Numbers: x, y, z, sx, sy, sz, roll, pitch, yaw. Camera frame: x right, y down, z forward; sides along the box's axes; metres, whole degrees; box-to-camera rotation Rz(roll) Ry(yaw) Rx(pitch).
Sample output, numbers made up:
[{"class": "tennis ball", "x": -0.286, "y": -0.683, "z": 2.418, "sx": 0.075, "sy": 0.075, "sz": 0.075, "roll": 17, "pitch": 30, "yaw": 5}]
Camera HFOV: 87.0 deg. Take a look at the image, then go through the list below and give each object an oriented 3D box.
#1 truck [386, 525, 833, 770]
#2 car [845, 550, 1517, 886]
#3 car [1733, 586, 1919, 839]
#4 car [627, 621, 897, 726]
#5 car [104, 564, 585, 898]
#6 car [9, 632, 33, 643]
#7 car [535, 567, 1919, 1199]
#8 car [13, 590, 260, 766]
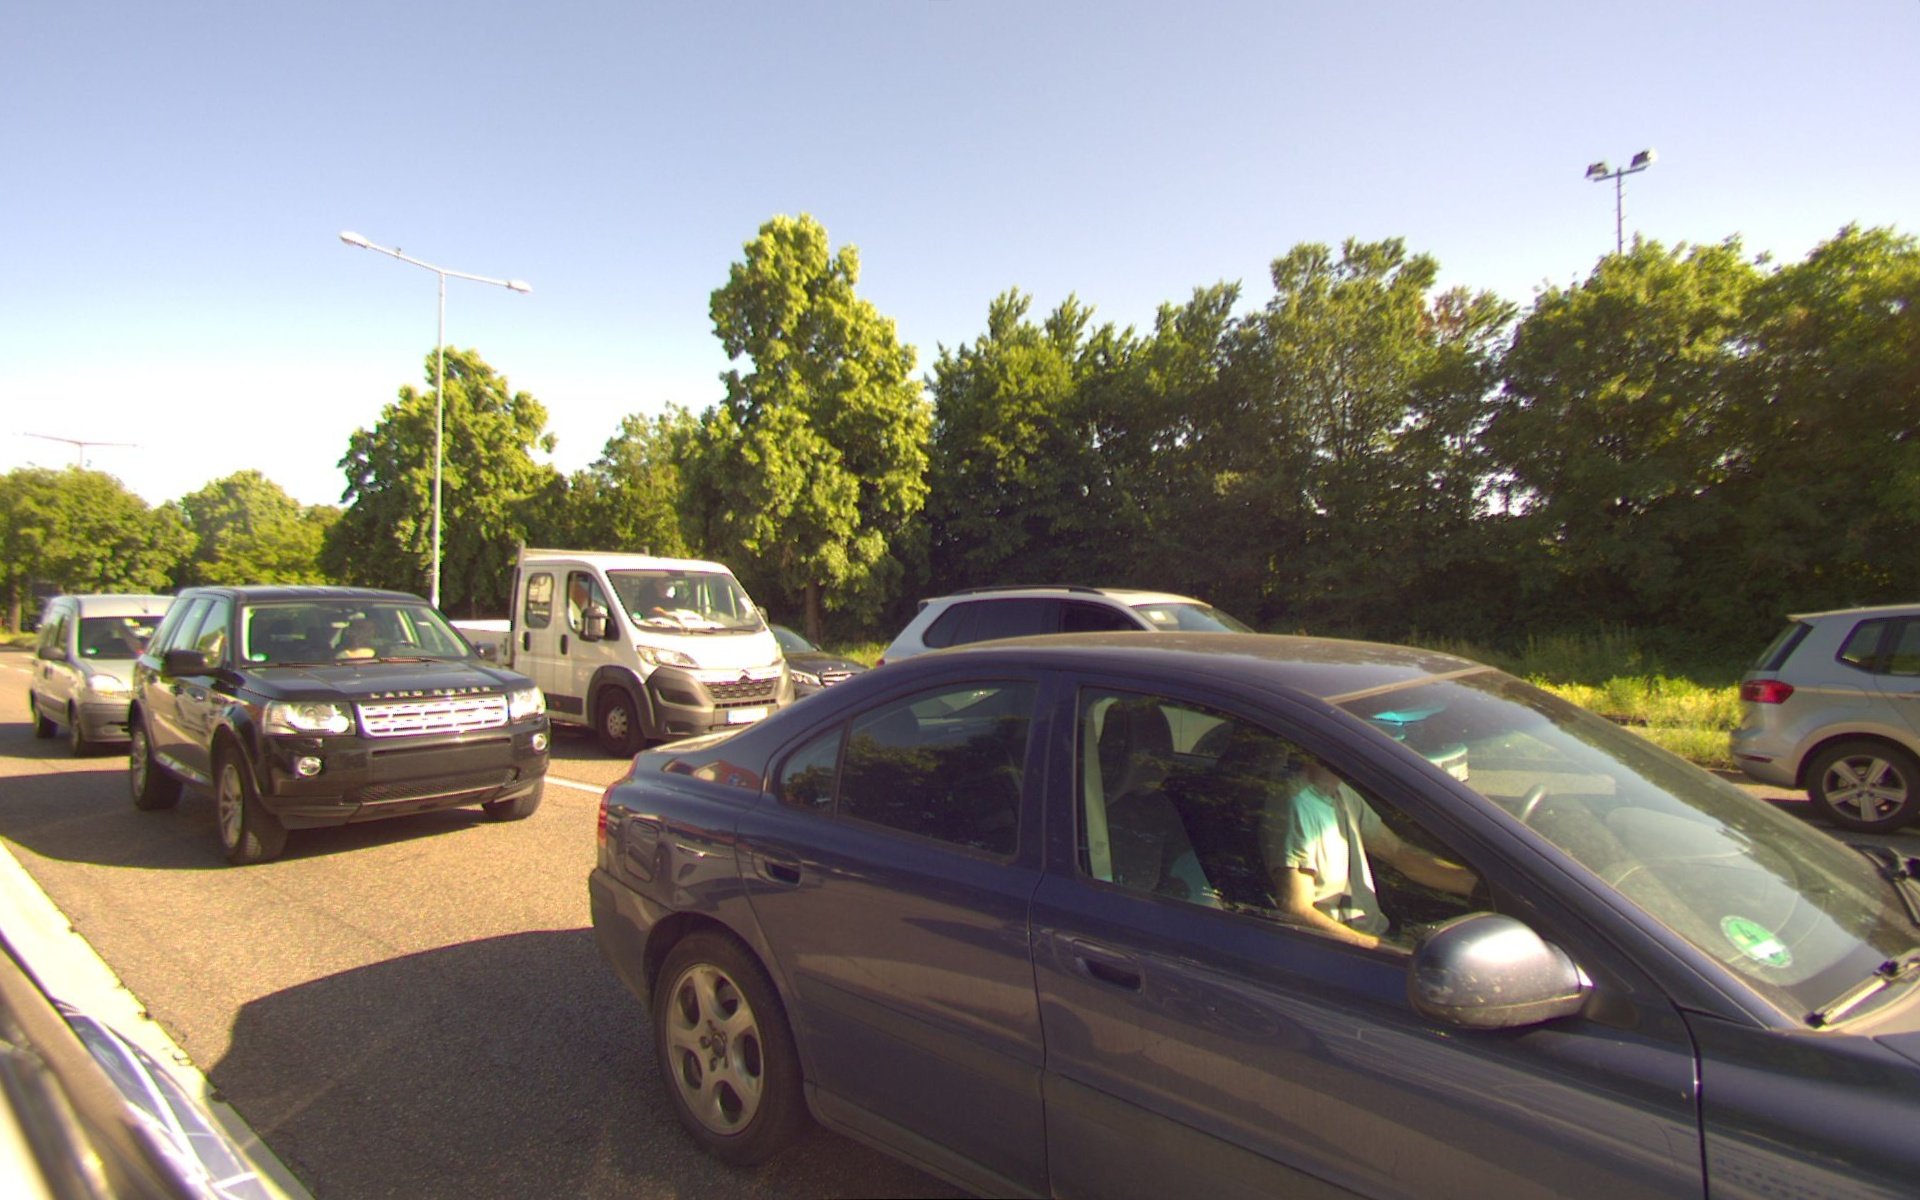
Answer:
[{"class": "truck", "x": -4.710, "y": 0.488, "z": 12.711, "sx": 6.838, "sy": 2.337, "sz": 2.158, "roll": -1, "pitch": -1, "yaw": 40}, {"class": "car", "x": 1.383, "y": 0.680, "z": 7.428, "sx": 4.422, "sy": 1.723, "sz": 1.973, "roll": -2, "pitch": -3, "yaw": 41}, {"class": "car", "x": 7.634, "y": 0.724, "z": 6.412, "sx": 4.206, "sy": 1.623, "sz": 1.810, "roll": -2, "pitch": -3, "yaw": 42}, {"class": "car", "x": -3.199, "y": 1.064, "z": 15.899, "sx": 4.382, "sy": 1.401, "sz": 1.793, "roll": -1, "pitch": -3, "yaw": 40}, {"class": "car", "x": -4.692, "y": 0.708, "z": 7.418, "sx": 4.384, "sy": 1.744, "sz": 1.793, "roll": -1, "pitch": -1, "yaw": 41}, {"class": "car", "x": -120.040, "y": 4.755, "z": 129.348, "sx": 3.998, "sy": 1.428, "sz": 1.769, "roll": -2, "pitch": -3, "yaw": 41}, {"class": "car", "x": 0.895, "y": 0.697, "z": 2.423, "sx": 4.454, "sy": 1.463, "sz": 1.757, "roll": -1, "pitch": 0, "yaw": 41}, {"class": "car", "x": -10.049, "y": 0.804, "z": 12.220, "sx": 4.384, "sy": 1.765, "sz": 1.611, "roll": -1, "pitch": -1, "yaw": 41}]
